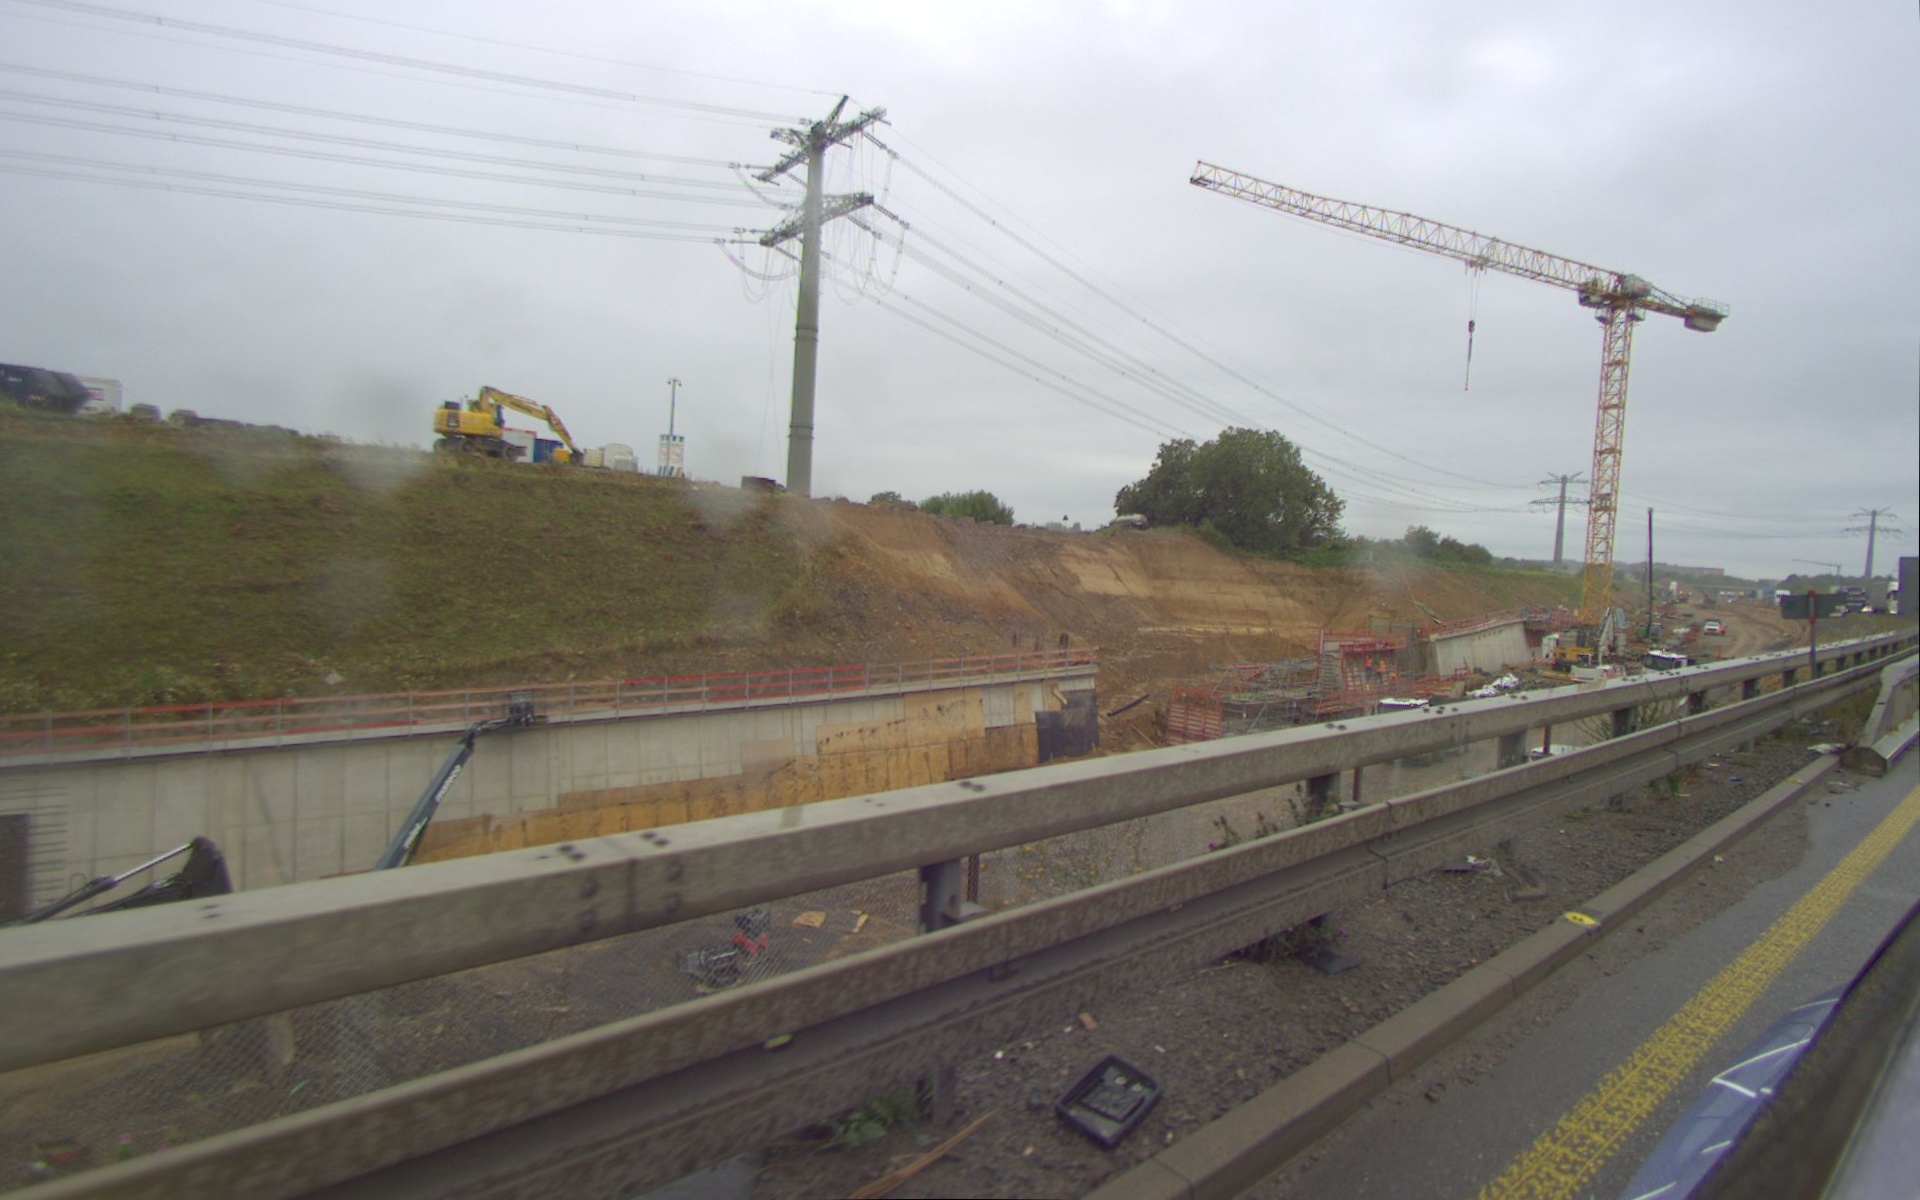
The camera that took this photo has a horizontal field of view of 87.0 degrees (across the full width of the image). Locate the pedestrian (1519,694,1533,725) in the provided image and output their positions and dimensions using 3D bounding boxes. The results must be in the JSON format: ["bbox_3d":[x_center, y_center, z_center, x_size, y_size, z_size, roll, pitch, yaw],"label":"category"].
[{"bbox_3d":[37.311,7.217,66.676,0.602,1.928,0.605,3,3,44],"label":"pedestrian"}]

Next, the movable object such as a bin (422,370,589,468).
[{"bbox_3d":[-25.404,-9.970,56.772,8.030,4.258,3.107,0,2,-39],"label":"movable object such as a bin"}]

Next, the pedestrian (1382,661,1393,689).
[{"bbox_3d":[33.508,5.859,79.335,0.487,2.127,0.474,-6,-4,44],"label":"pedestrian"}]

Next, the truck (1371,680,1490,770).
[{"bbox_3d":[25.988,6.703,55.667,8.923,3.655,2.707,-2,4,-43],"label":"truck"}]

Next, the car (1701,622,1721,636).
[{"bbox_3d":[104.011,3.996,140.199,1.854,1.638,4.018,3,3,42],"label":"car"}]

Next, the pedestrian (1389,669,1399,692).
[{"bbox_3d":[34.518,6.412,80.457,0.488,1.781,0.474,4,3,44],"label":"pedestrian"}]

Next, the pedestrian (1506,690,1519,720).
[{"bbox_3d":[37.178,7.079,68.120,0.602,1.928,0.474,4,3,44],"label":"pedestrian"}]

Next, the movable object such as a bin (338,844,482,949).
[{"bbox_3d":[-16.415,8.754,30.243,2.516,1.935,3.205,-2,0,45],"label":"movable object such as a bin"}]

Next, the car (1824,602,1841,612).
[{"bbox_3d":[129.089,1.041,149.704,1.784,1.445,3.938,0,0,43],"label":"car"}]

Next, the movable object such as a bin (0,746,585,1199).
[{"bbox_3d":[-14.651,6.956,20.850,11.880,5.740,4.903,-4,1,-40],"label":"movable object such as a bin"}]

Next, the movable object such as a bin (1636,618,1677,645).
[{"bbox_3d":[89.024,3.988,129.309,3.495,2.915,3.938,9,7,43],"label":"movable object such as a bin"}]

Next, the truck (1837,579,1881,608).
[{"bbox_3d":[126.457,-0.910,142.449,3.524,3.943,8.232,0,0,34],"label":"truck"}]

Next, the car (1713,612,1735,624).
[{"bbox_3d":[122.197,2.843,161.905,2.344,1.638,4.786,3,3,42],"label":"car"}]

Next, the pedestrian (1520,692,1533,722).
[{"bbox_3d":[37.622,7.098,67.214,0.602,1.928,0.474,4,3,44],"label":"pedestrian"}]

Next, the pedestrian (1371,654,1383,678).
[{"bbox_3d":[32.325,5.091,78.523,0.570,1.827,0.490,-3,-3,-6],"label":"pedestrian"}]

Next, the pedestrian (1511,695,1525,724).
[{"bbox_3d":[36.384,7.132,65.998,0.602,1.790,0.474,6,5,44],"label":"pedestrian"}]

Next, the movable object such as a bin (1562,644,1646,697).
[{"bbox_3d":[50.139,5.405,78.770,6.532,3.466,3.518,-2,2,-38],"label":"movable object such as a bin"}]
